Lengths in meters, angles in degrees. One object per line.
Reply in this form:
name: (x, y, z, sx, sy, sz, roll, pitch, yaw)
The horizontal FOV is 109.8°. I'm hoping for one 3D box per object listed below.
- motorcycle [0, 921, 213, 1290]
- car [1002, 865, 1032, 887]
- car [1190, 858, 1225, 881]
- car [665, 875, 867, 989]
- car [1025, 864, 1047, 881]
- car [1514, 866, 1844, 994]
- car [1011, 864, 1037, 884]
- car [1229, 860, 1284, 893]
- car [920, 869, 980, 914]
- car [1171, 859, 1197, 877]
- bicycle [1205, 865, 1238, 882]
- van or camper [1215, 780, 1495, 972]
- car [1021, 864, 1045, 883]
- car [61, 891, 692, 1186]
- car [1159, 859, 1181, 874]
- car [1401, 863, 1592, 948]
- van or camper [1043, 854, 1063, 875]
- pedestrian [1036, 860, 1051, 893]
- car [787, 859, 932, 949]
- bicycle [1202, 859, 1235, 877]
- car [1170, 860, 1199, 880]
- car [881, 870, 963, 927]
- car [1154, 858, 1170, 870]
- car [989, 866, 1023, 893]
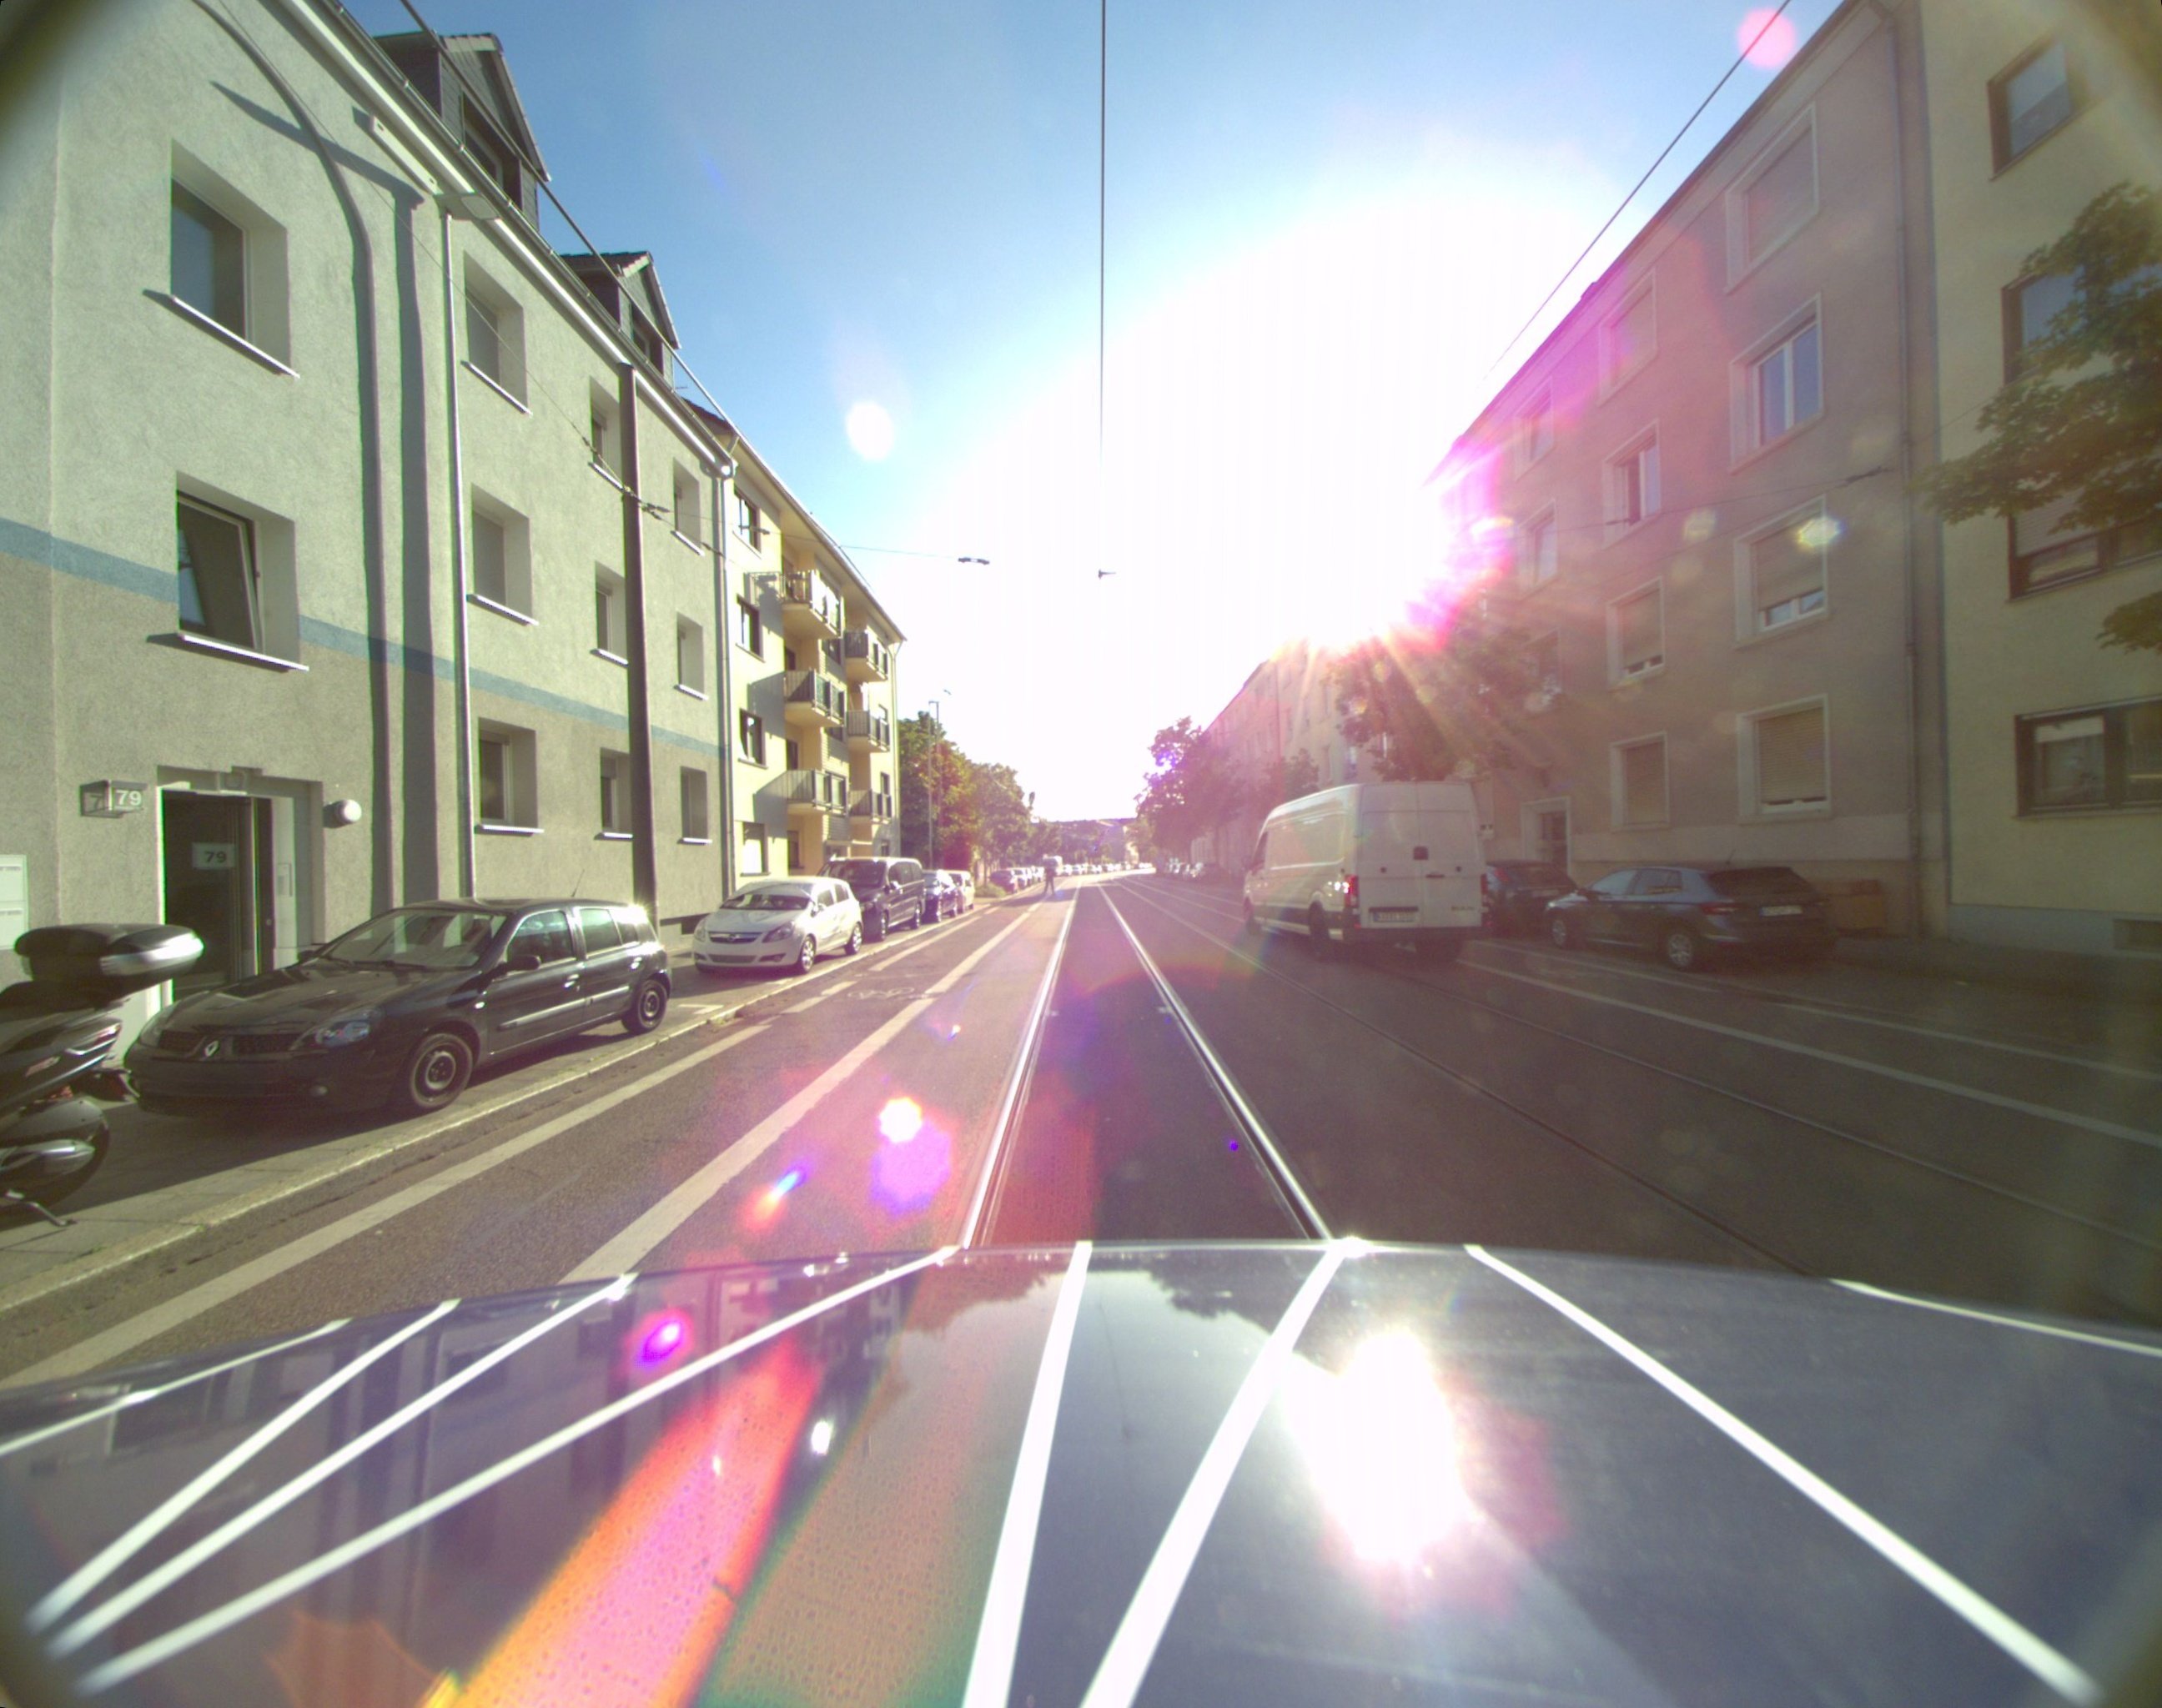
motorcycle: (-5.032, 1.105, 2.694, 0.807, 1.512, 2.708, 0, 0, 0)
car: (-4.753, 1.615, 56.858, 1.829, 1.561, 4.478, 0, 0, 0)
car: (9.430, 1.152, 56.993, 1.688, 1.613, 4.048, -2, 0, -3)
car: (-5.080, 1.173, 12.896, 1.805, 1.561, 3.904, 0, 0, 0)
car: (-4.268, 1.767, 73.049, 1.829, 1.561, 4.478, 0, 0, 0)
car: (8.712, 0.987, 11.620, 1.769, 1.464, 4.041, -4, 0, 0)
car: (-4.673, 1.648, 62.413, 1.829, 1.561, 4.478, 0, 0, 0)
car: (8.805, 1.089, 38.514, 1.769, 1.464, 4.753, -2, 0, 1)
car: (-4.803, 1.342, 28.353, 1.557, 1.533, 3.632, 0, 0, 1)
car: (9.568, 1.258, 70.678, 1.688, 1.542, 4.048, -2, 0, -3)
bicycle: (9.687, 1.330, 52.379, 2.150, 1.136, 0.530, -2, 0, -3)
van or camper: (4.338, 0.324, 13.764, 2.376, 2.538, 6.834, -2, 0, -2)
car: (-4.247, 1.676, 67.254, 1.829, 1.561, 4.478, 0, 0, 0)
car: (-5.141, 1.177, 6.412, 1.612, 1.561, 3.905, 0, 0, 2)
car: (9.346, 1.312, 79.710, 1.688, 1.542, 3.715, -2, 0, -3)
car: (8.691, 0.988, 16.371, 1.769, 1.464, 4.181, -4, 0, 1)
van or camper: (-3.595, 1.341, 98.067, 2.090, 2.548, 5.694, -2, 0, 2)
pedestrian: (-2.060, 1.245, 41.829, 0.801, 1.800, 0.946, 0, 0, 1)
car: (-5.186, 1.075, 18.606, 1.934, 1.909, 5.005, 0, 0, 2)
bicycle: (9.591, 0.969, 53.133, 2.150, 1.136, 0.535, -2, 0, -3)
car: (8.520, 1.299, 62.816, 1.688, 1.542, 4.048, -2, 0, -3)
car: (-4.853, 1.299, 23.726, 1.612, 1.561, 4.219, 0, 0, 1)
car: (10.591, 1.301, 99.620, 1.667, 1.535, 3.410, -2, 0, 0)
car: (-4.602, 1.516, 47.078, 1.612, 1.561, 4.479, 0, 0, 1)
